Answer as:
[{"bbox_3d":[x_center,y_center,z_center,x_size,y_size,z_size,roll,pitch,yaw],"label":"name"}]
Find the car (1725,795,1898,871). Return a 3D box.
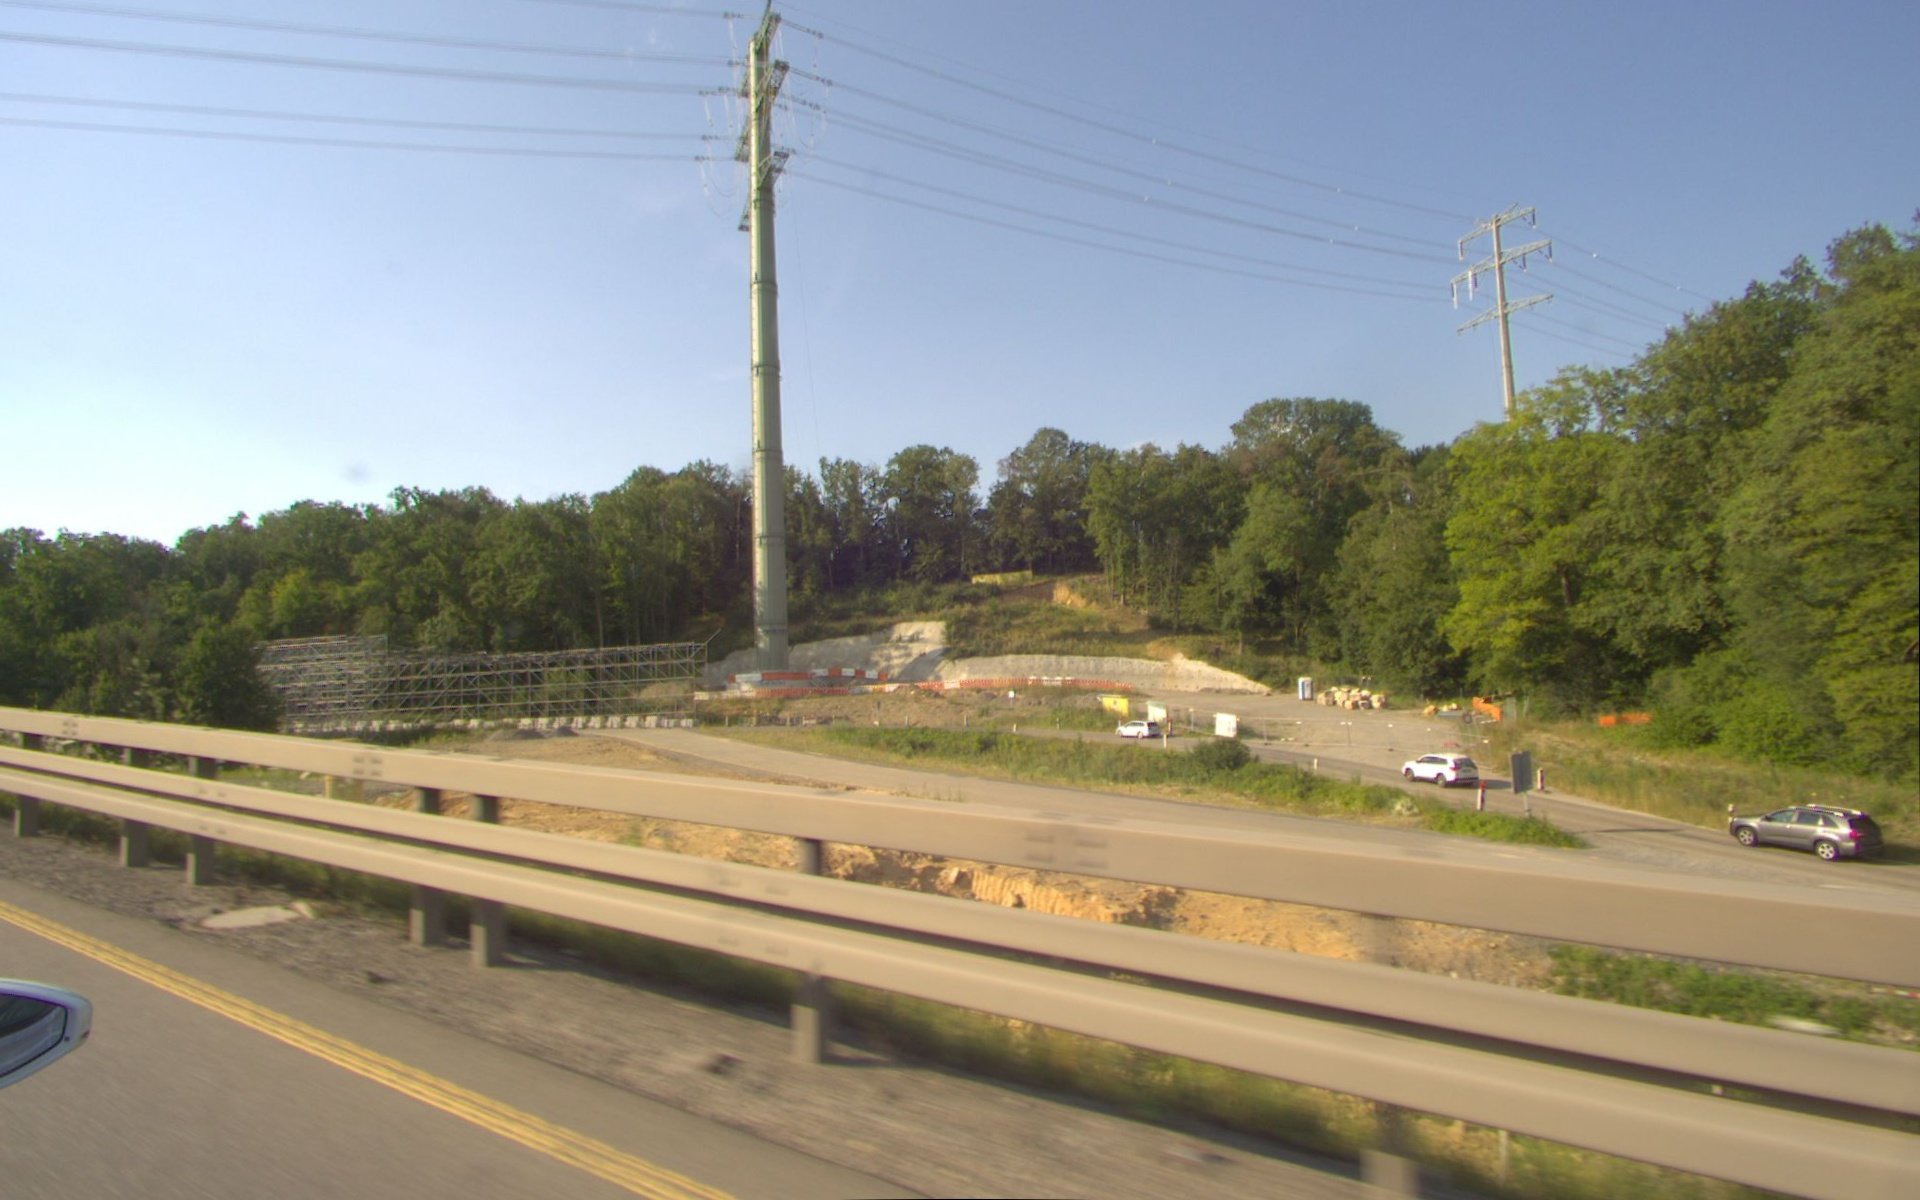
[{"bbox_3d":[31.180,8.477,36.843,1.838,1.807,4.487,0,-2,-22],"label":"car"}]

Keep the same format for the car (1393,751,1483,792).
[{"bbox_3d":[25.982,9.306,54.612,1.647,1.682,4.458,2,-4,-24],"label":"car"}]

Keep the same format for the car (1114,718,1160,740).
[{"bbox_3d":[15.271,11.117,86.501,1.509,1.479,4.245,-1,-2,-32],"label":"car"}]
